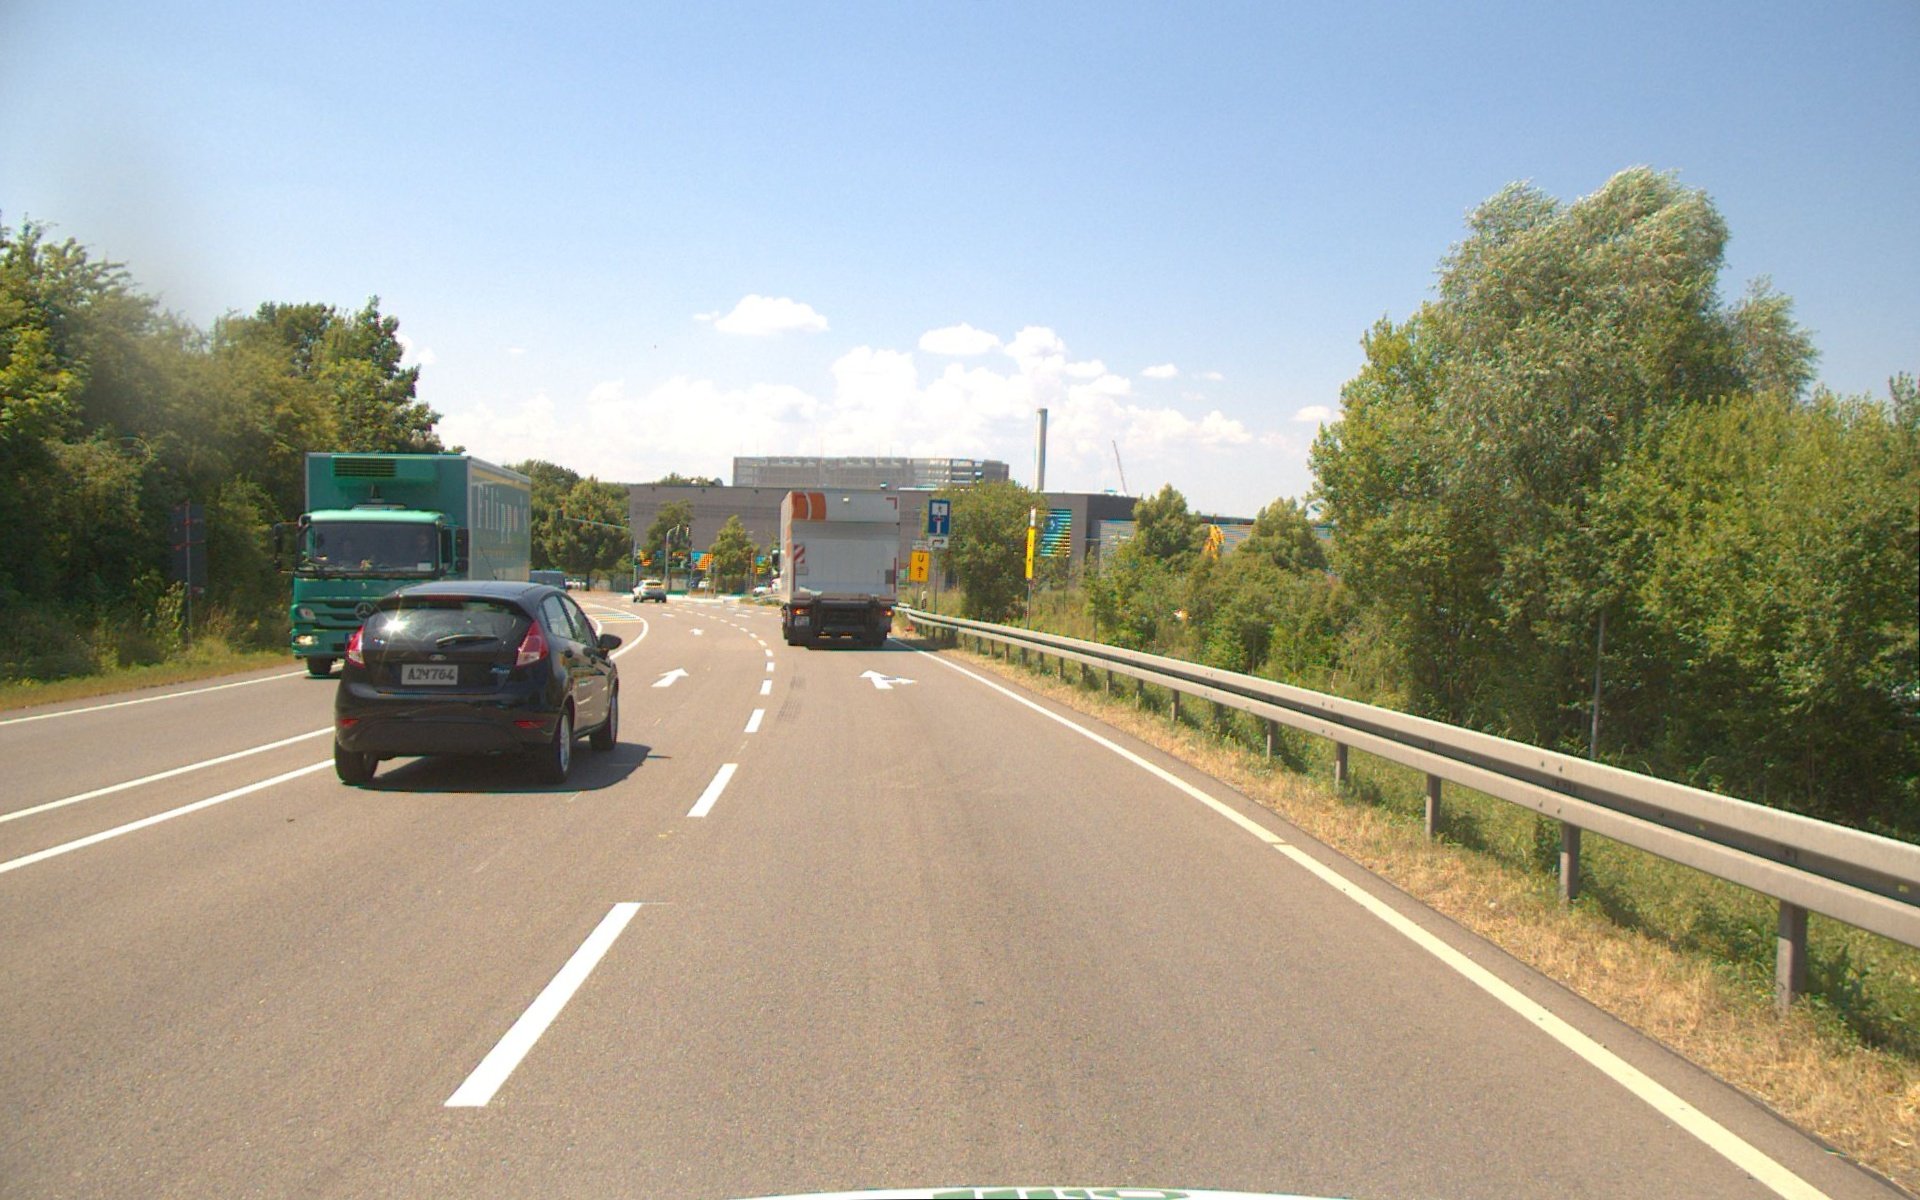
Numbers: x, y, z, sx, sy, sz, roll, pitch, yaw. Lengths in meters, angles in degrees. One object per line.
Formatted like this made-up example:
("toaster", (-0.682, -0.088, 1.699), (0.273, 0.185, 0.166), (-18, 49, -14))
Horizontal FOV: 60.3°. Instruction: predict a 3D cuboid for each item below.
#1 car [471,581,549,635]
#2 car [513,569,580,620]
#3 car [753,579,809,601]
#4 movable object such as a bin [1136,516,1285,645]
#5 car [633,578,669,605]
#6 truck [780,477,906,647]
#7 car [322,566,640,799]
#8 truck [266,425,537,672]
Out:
("car", (-13.004, 0.201, 48.000), (1.843, 1.467, 4.318), (0, 0, -11))
("car", (-16.252, -0.236, 65.208), (1.956, 1.927, 5.096), (0, 1, -7))
("car", (-16.190, -0.907, 149.717), (4.645, 1.966, 2.155), (1, 0, 5))
("movable object such as a bin", (11.297, -1.033, 75.771), (3.365, 5.351, 9.201), (2, 3, -13))
("car", (-21.161, -0.603, 113.259), (1.913, 1.693, 3.981), (4, 0, -17))
("truck", (-3.093, -0.942, 41.806), (2.749, 3.775, 9.097), (1, 1, -6))
("car", (-3.697, 0.531, 13.471), (1.620, 1.519, 4.205), (2, 2, -4))
("truck", (-9.464, -0.804, 29.228), (2.815, 3.636, 9.414), (0, 1, -8))
